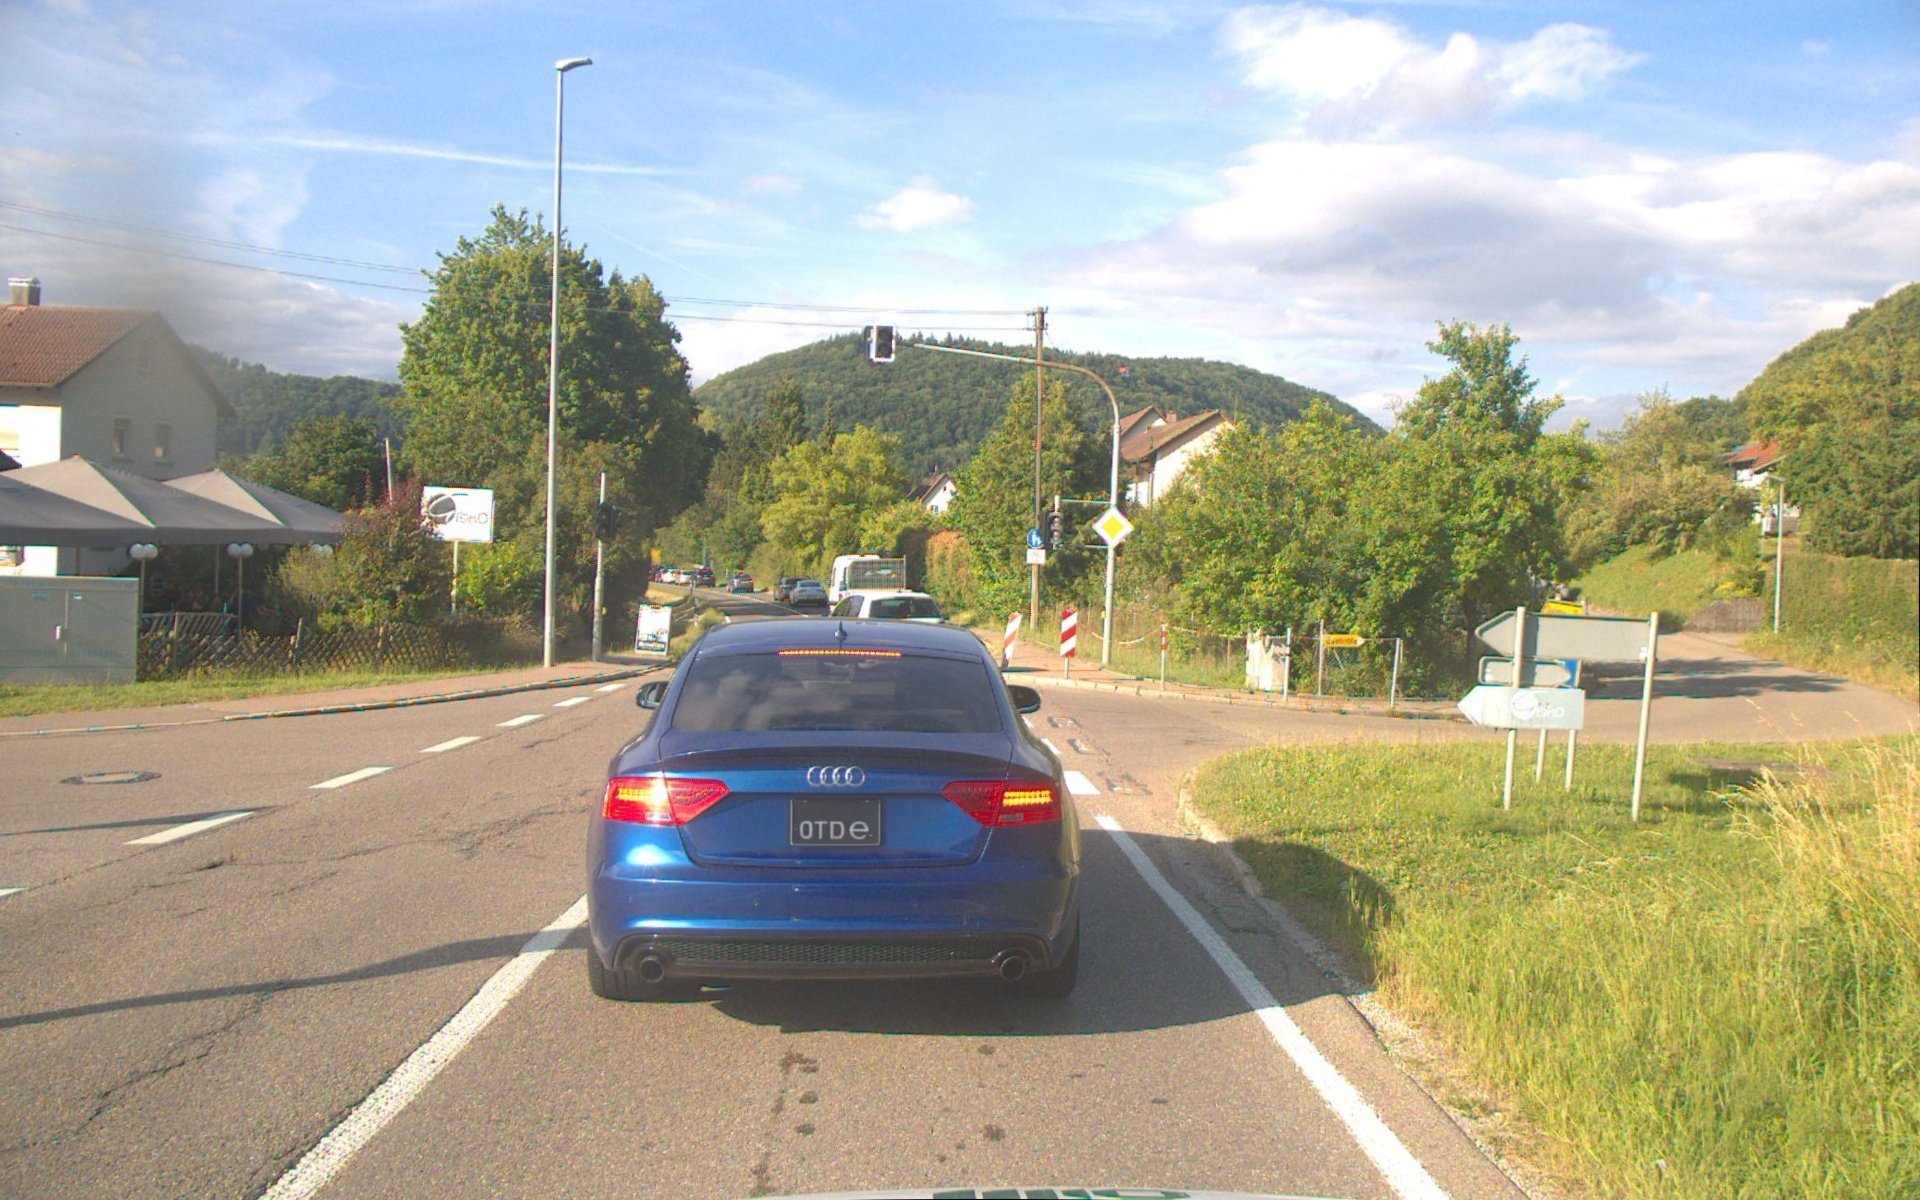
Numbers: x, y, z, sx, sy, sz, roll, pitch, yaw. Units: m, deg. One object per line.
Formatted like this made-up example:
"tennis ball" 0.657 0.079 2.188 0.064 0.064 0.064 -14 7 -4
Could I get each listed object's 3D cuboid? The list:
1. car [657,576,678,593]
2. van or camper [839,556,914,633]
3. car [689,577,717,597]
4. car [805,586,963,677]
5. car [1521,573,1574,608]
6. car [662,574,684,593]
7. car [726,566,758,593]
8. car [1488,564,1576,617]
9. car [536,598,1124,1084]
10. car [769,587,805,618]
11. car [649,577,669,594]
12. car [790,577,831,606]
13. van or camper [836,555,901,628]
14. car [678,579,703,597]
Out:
"car" -30.348 -1.626 171.497 1.743 1.814 3.983 0 1 -16
"van or camper" -2.833 -0.225 54.914 2.138 2.426 5.362 0 1 -7
"car" -23.099 -1.180 148.482 2.007 1.713 3.983 0 1 -16
"car" -1.444 0.518 29.648 1.744 1.439 4.152 2 0 -18
"car" 27.059 -0.419 76.298 1.951 1.490 4.003 1 0 15
"car" -28.685 -1.643 165.385 1.720 1.814 3.983 0 1 -16
"car" -16.812 -1.578 127.647 1.960 2.049 3.984 0 0 -15
"car" 22.398 -0.402 64.966 1.952 1.909 4.874 3 1 4
"car" -0.480 0.734 7.202 1.793 1.433 4.224 0 1 -3
"car" -10.626 0.135 101.530 1.765 1.825 3.988 0 1 -12
"car" -32.423 -1.613 177.963 1.743 1.814 3.983 0 1 -16
"car" -8.206 -0.484 90.364 1.787 1.579 3.988 0 1 -12
"van or camper" -3.899 -0.392 69.617 2.369 2.955 6.123 0 1 -7
"car" -25.571 -1.150 156.948 1.910 1.713 3.983 0 1 -16
